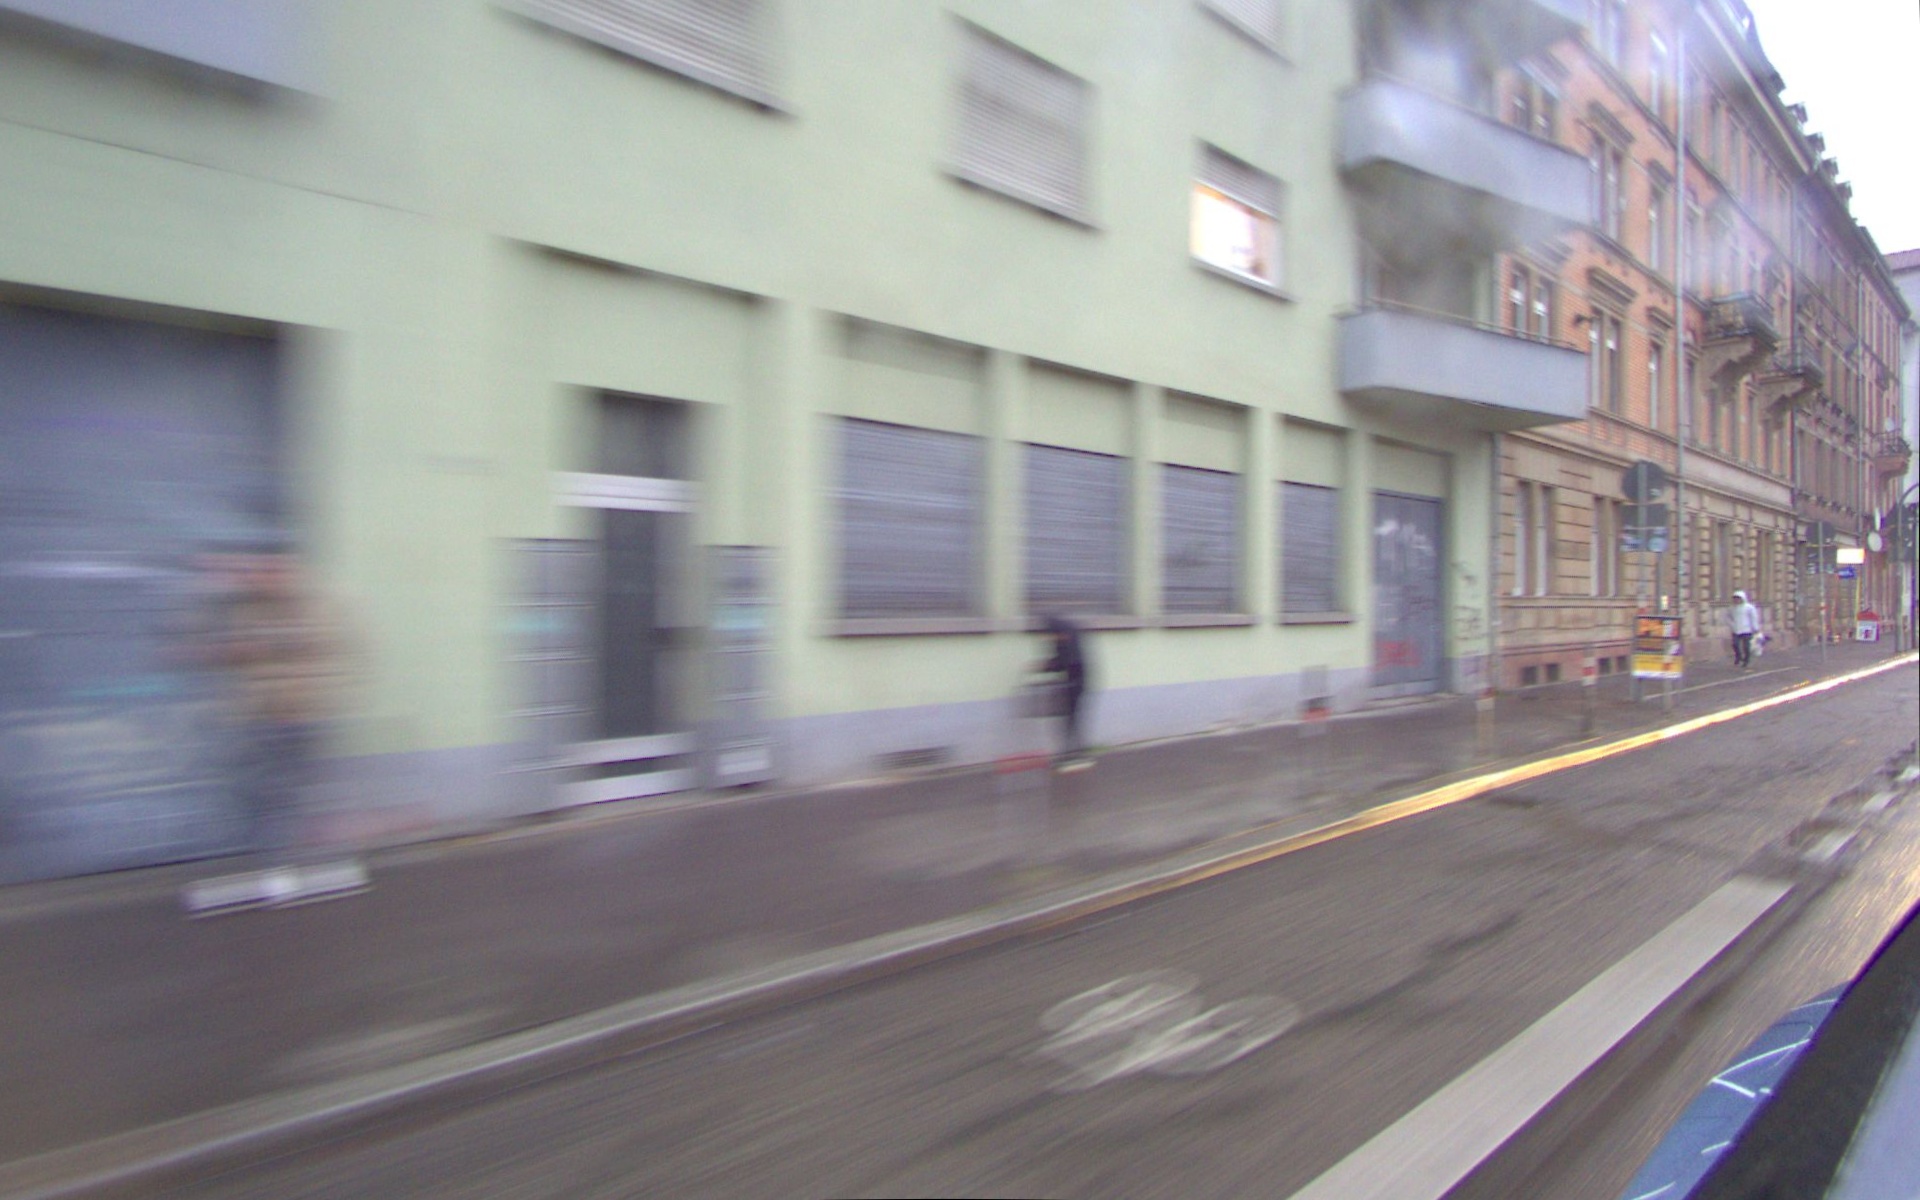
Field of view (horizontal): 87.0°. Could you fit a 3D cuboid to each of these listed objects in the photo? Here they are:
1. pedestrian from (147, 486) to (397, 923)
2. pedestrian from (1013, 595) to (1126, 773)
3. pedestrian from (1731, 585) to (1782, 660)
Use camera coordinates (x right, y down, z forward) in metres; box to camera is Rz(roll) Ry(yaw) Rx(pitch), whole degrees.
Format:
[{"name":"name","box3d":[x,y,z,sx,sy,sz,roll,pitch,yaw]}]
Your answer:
[{"name":"pedestrian","box3d":[-3.193,0.440,4.741,0.593,1.841,0.770,-1,0,22]},{"name":"pedestrian","box3d":[0.911,0.664,8.444,0.716,1.394,0.601,0,-1,-41]},{"name":"pedestrian","box3d":[17.574,0.482,22.335,0.729,1.617,0.787,0,0,-42]}]
